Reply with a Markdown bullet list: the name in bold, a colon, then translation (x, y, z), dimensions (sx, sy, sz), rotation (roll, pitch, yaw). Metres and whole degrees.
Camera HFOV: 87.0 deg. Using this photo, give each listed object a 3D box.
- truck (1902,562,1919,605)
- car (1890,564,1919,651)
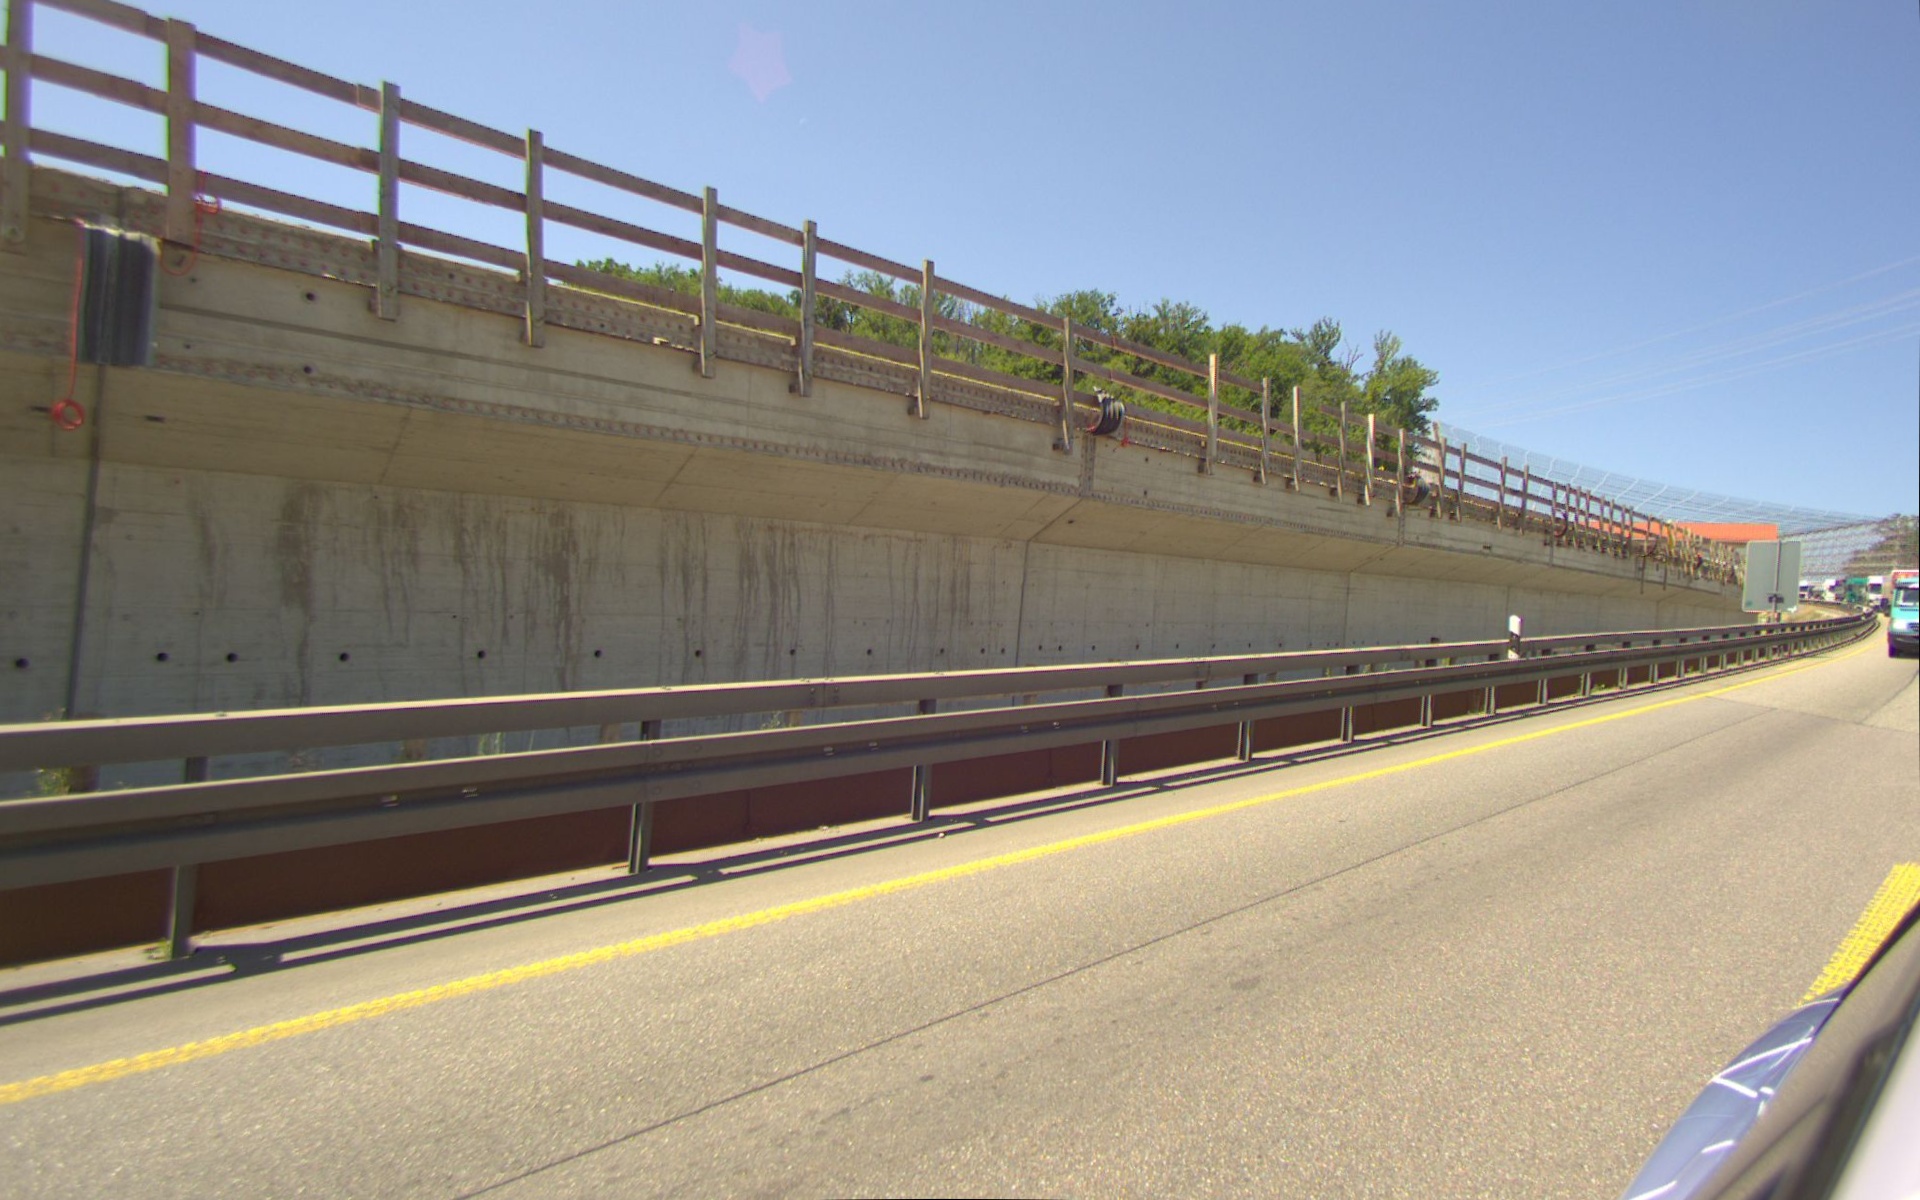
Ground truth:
- **truck**: translation (81.201, -1.405, 85.075), dimensions (2.461, 3.528, 9.724), rotation (-1, 0, 41)
- **car**: translation (28.768, 0.169, 29.437), dimensions (6.790, 2.355, 2.213), rotation (-1, 1, -45)
